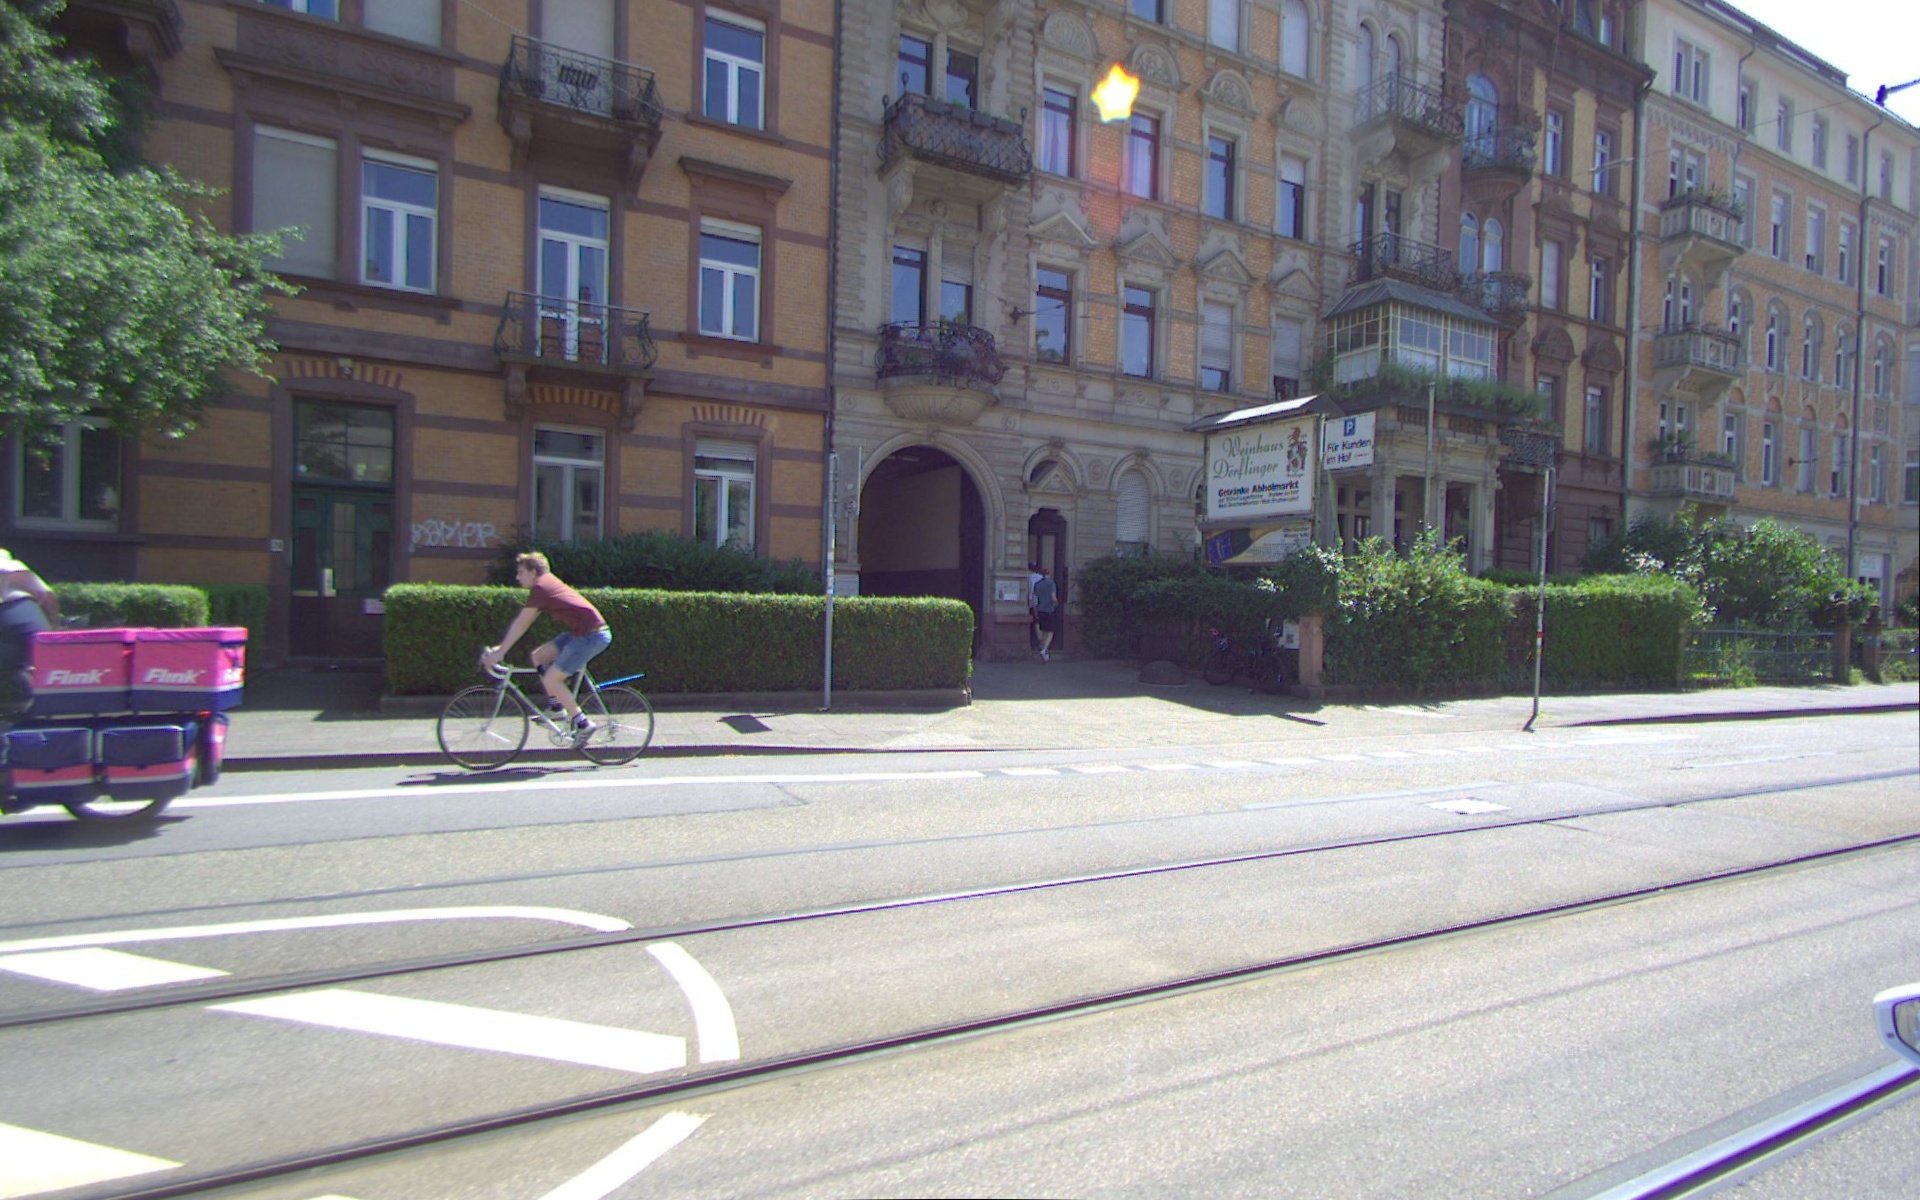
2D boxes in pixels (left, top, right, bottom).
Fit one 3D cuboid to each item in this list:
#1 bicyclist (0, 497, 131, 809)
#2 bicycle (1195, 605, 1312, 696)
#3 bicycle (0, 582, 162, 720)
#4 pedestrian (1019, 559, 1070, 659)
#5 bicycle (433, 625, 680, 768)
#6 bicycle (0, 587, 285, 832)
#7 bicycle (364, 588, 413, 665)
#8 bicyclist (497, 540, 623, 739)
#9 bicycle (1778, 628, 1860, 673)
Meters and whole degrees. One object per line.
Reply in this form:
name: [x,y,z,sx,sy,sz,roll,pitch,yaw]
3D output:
bicyclist: [-5.375,0.274,5.607,0.968,1.651,0.804,1,0,-27]
bicycle: [4.616,0.766,15.940,0.561,1.244,1.861,1,2,-30]
bicycle: [-8.067,0.421,8.527,1.905,1.108,0.636,2,2,-25]
pedestrian: [1.667,0.172,19.695,0.800,1.882,0.879,2,0,14]
bicycle: [-3.275,0.753,8.214,1.806,1.052,0.565,2,0,-28]
bicycle: [-5.357,0.576,5.615,2.518,1.288,0.804,2,0,-28]
bicycle: [-7.835,0.335,13.799,0.434,0.996,1.578,1,0,-25]
bicyclist: [-3.273,0.315,8.205,0.880,1.536,0.560,1,0,-28]
bicycle: [21.783,1.263,25.504,0.488,1.057,1.505,1,0,-26]
